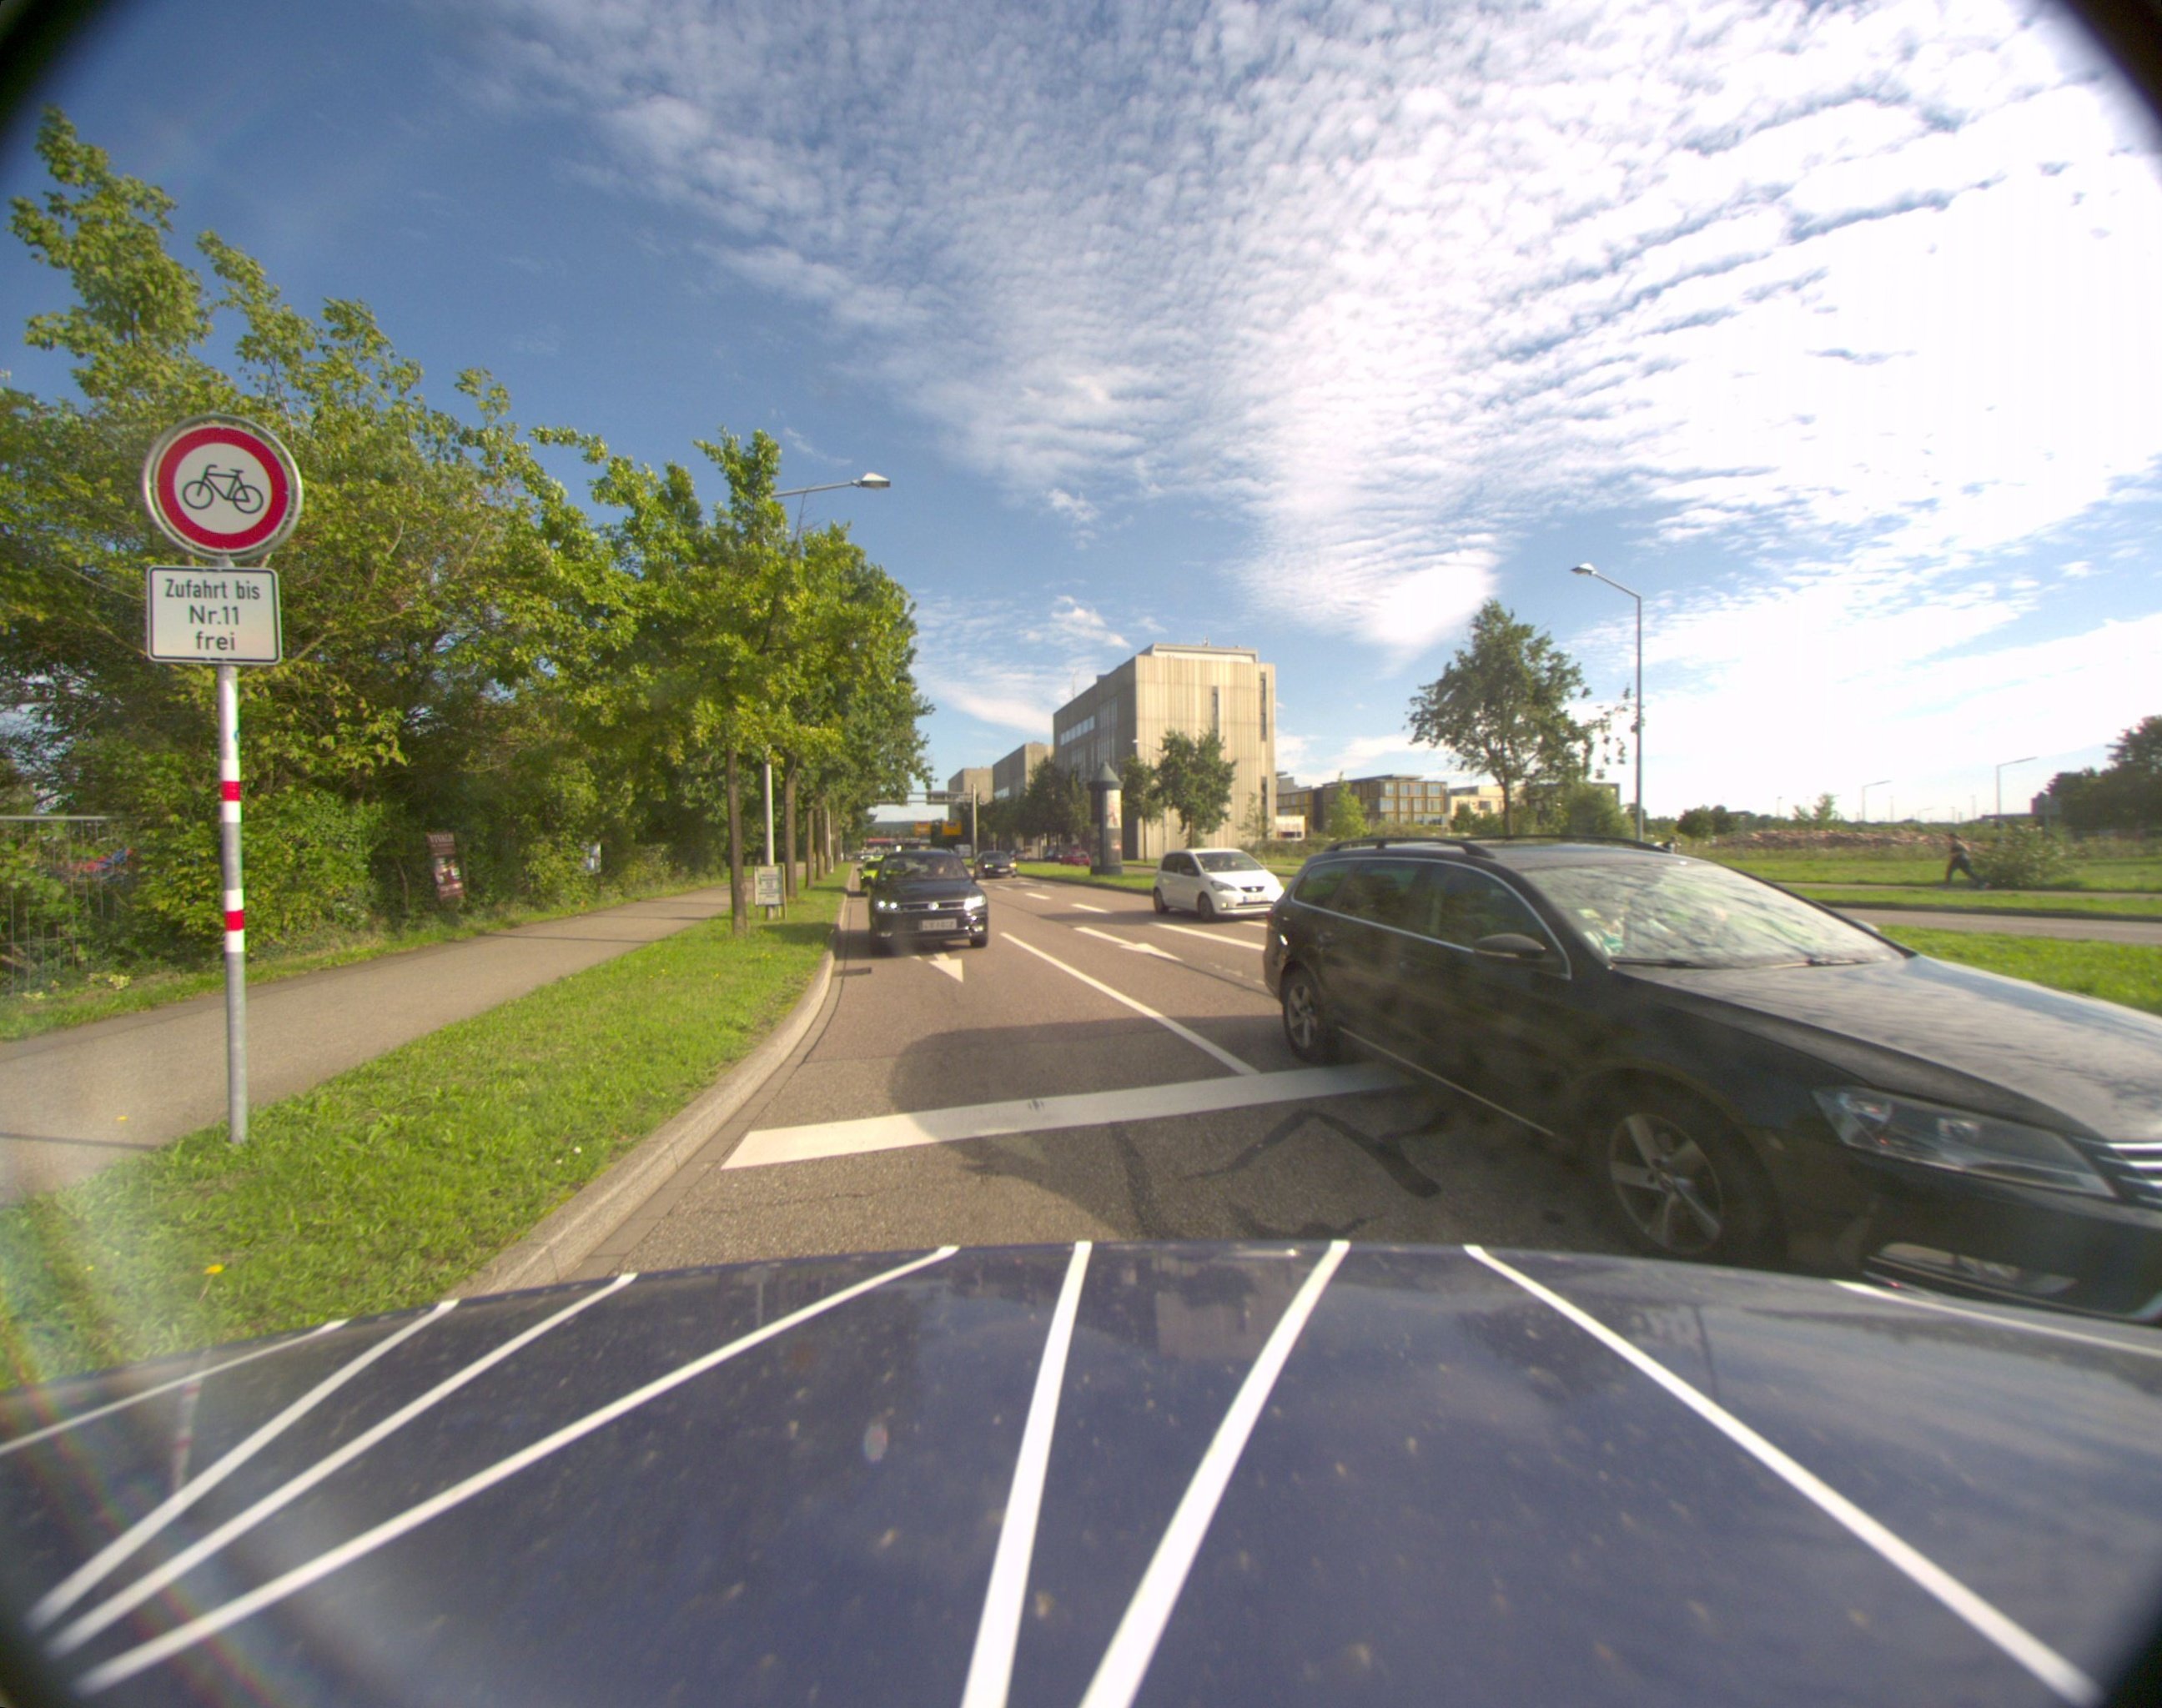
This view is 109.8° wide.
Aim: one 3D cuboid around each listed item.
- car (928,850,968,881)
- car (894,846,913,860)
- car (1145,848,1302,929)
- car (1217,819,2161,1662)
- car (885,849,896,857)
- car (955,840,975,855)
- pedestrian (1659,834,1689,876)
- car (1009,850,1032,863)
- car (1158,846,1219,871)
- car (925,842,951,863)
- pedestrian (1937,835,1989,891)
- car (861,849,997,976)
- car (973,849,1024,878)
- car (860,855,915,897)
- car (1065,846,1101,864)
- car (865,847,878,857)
[{"bbox_3d":[-7.100,0.556,40.222,1.696,1.466,4.221,-2,1,-15],"label":"car"},{"bbox_3d":[-23.334,-0.150,99.712,2.001,1.652,4.795,-1,1,-18],"label":"car"},{"bbox_3d":[2.880,0.626,16.173,1.768,1.456,3.654,-2,1,-16],"label":"car"},{"bbox_3d":[2.572,0.689,3.919,2.000,1.558,4.839,-3,2,-11],"label":"car"},{"bbox_3d":[-35.370,-0.138,140.807,1.739,1.381,3.994,-1,1,-16],"label":"car"},{"bbox_3d":[-18.002,-0.977,117.774,2.035,2.241,5.532,0,0,-19],"label":"car"},{"bbox_3d":[23.116,0.029,29.635,0.629,1.620,0.657,-3,1,-14],"label":"pedestrian"},{"bbox_3d":[-7.027,0.280,88.412,1.858,1.425,4.061,-1,1,-17],"label":"car"},{"bbox_3d":[6.408,0.253,45.567,1.688,1.425,3.985,-1,1,-26],"label":"car"},{"bbox_3d":[-12.759,-0.161,67.743,1.696,1.467,4.217,-3,5,-18],"label":"car"},{"bbox_3d":[24.558,0.234,21.167,0.629,1.500,0.755,-4,2,-20],"label":"pedestrian"},{"bbox_3d":[-2.874,0.824,13.627,1.874,1.686,5.007,-4,2,-15],"label":"car"},{"bbox_3d":[-4.527,0.497,41.266,1.826,1.412,4.439,-2,1,-18],"label":"car"},{"bbox_3d":[-7.870,0.834,30.656,1.898,1.412,4.600,-3,1,-17],"label":"car"},{"bbox_3d":[0.121,0.082,61.718,1.687,1.425,3.583,-1,1,-23],"label":"car"},{"bbox_3d":[-31.223,-0.305,112.986,1.739,1.381,3.994,-1,1,-16],"label":"car"}]
